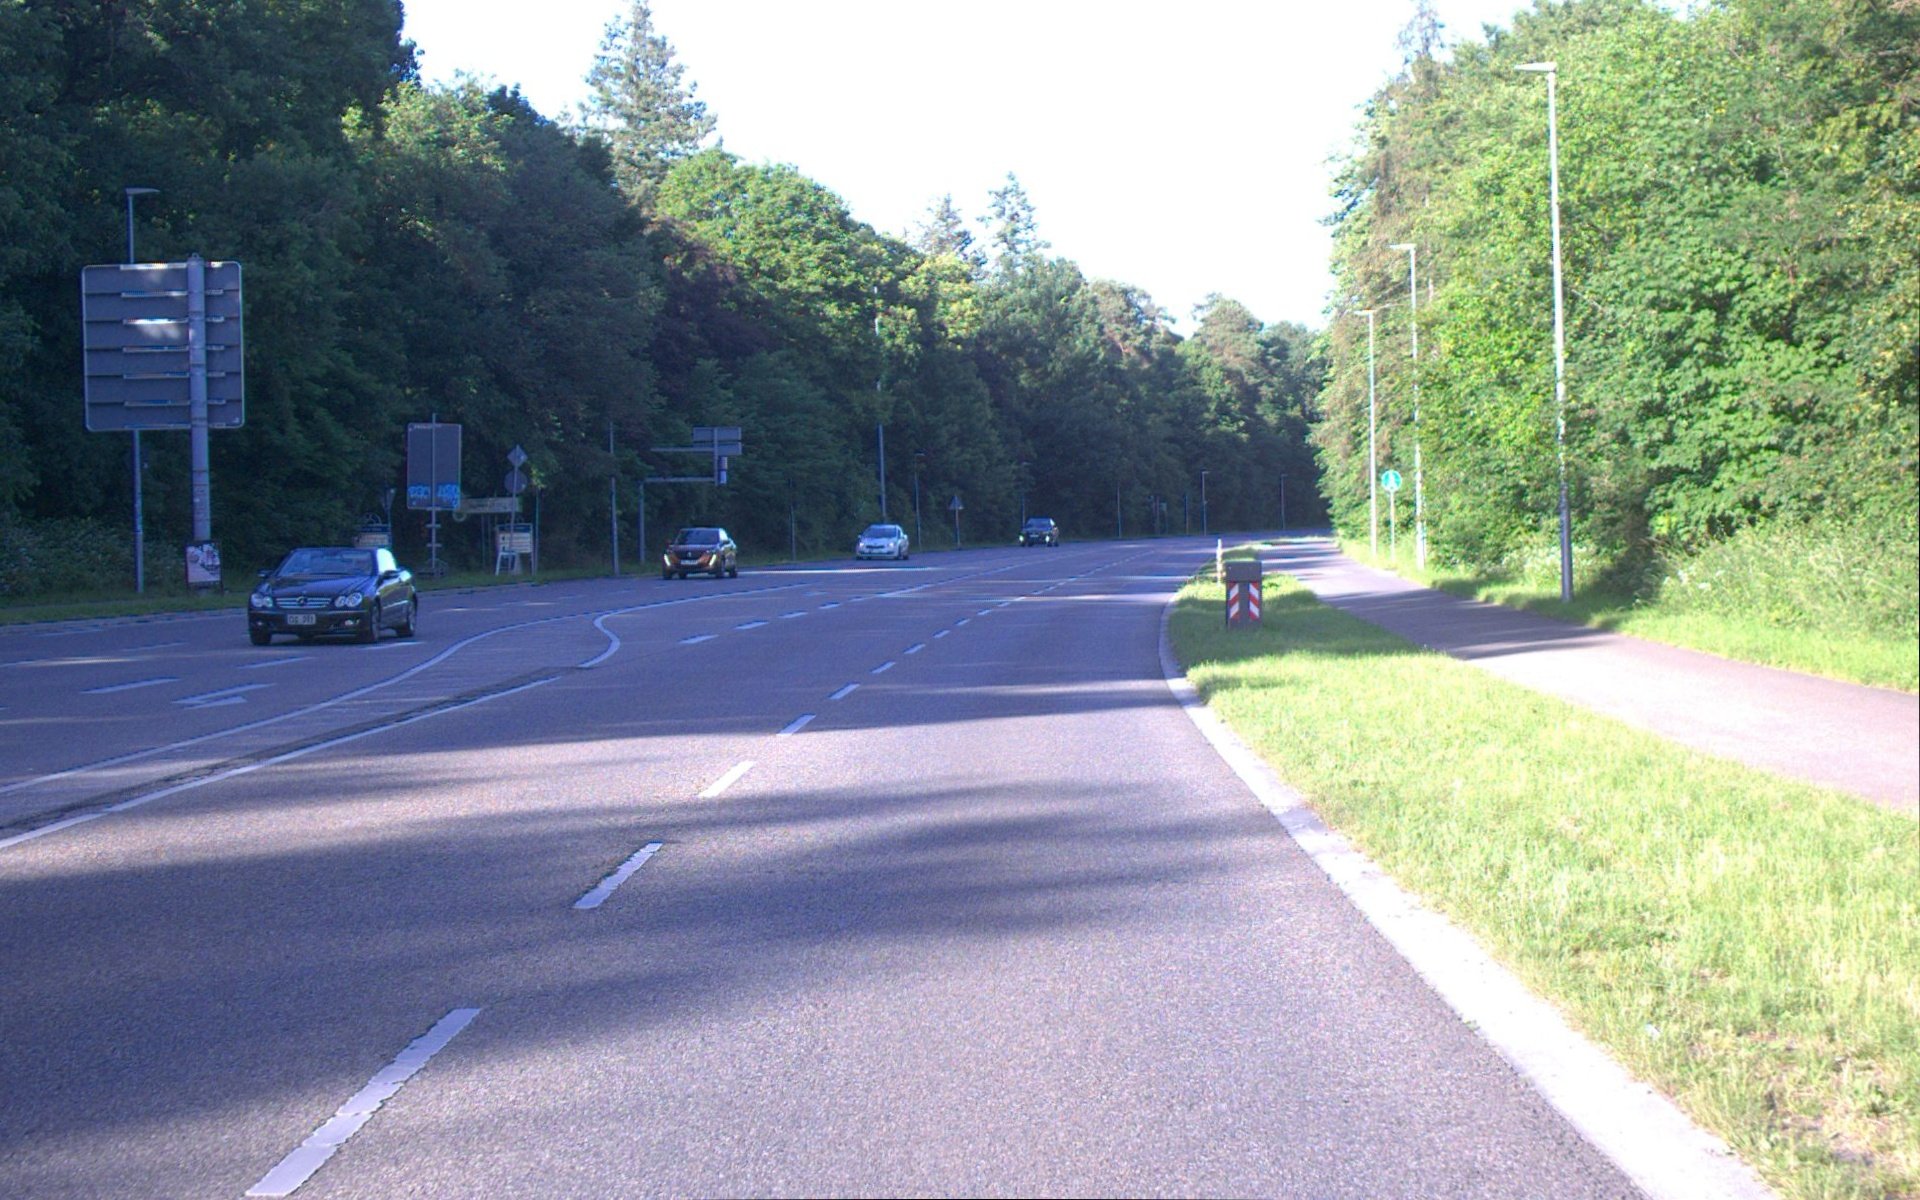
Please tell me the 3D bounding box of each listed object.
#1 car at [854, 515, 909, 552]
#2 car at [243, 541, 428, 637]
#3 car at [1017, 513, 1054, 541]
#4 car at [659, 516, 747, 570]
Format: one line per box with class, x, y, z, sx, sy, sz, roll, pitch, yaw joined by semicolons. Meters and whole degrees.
car;-3.248;-2.784;143.489;1.825;1.499;4.306;0;1;5
car;-8.766;-0.188;48.612;1.744;1.230;4.674;-1;1;0
car;4.322;-4.212;197.209;1.825;1.583;4.350;0;1;5
car;-7.628;-1.715;102.471;1.825;1.539;4.255;0;1;7
